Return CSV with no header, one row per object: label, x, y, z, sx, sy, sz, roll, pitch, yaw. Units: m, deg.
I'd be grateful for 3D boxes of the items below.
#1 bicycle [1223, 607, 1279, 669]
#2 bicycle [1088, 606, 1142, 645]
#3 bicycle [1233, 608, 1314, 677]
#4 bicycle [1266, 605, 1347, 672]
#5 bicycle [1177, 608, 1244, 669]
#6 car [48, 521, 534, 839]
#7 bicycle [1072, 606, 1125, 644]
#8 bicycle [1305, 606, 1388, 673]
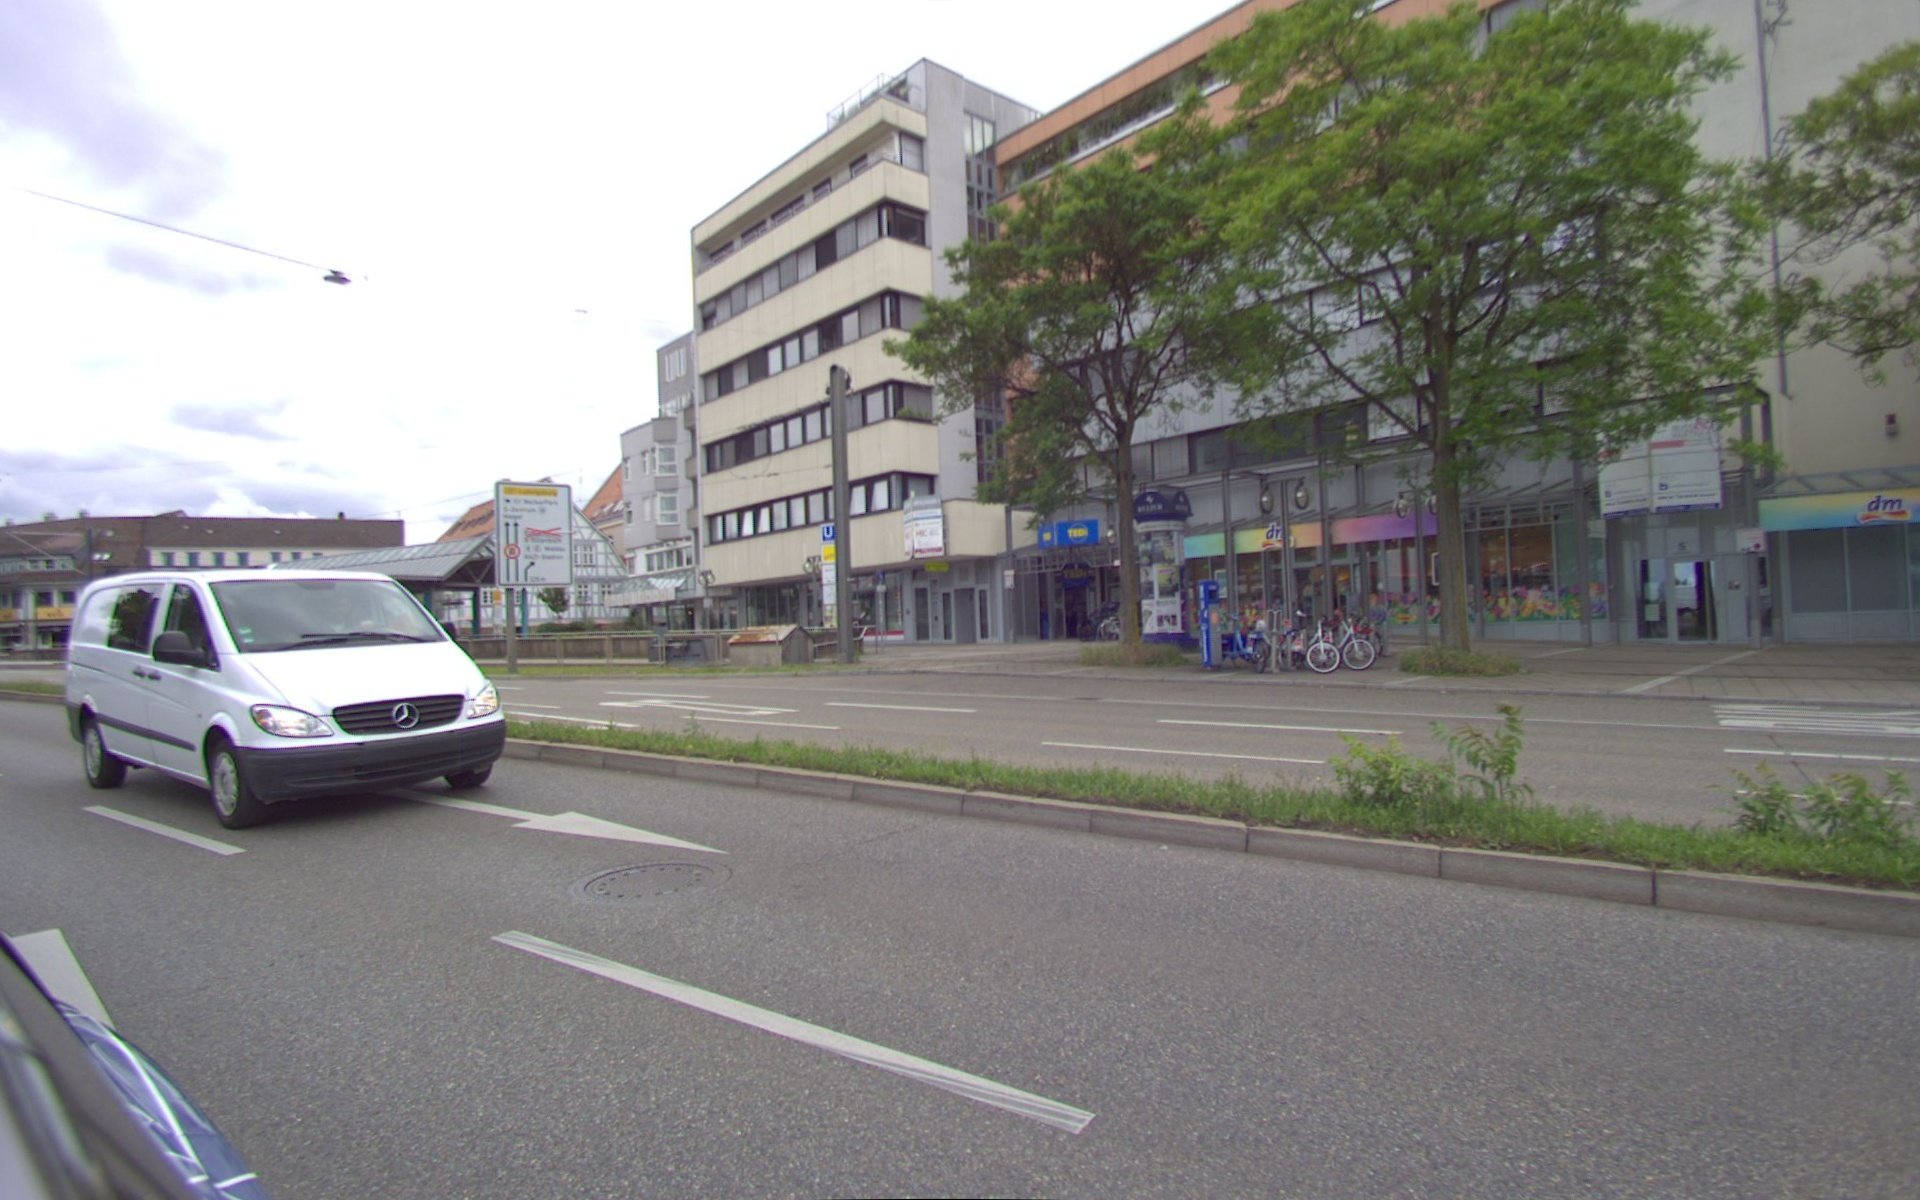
bicycle,6.146,0.797,21.416,0.425,1.263,1.474,-1,-1,-14
bicycle,5.602,0.908,36.554,1.941,1.329,0.707,0,-1,-33
bicycle,6.014,0.803,19.508,0.616,1.263,1.688,-1,-1,-17
bicycle,6.817,0.747,20.014,0.616,1.263,1.688,-1,-1,-17
bicycle,5.358,0.813,21.762,0.616,1.263,1.688,-1,-1,-16
car,-5.956,0.567,8.726,5.066,2.029,1.857,-2,0,37
bicycle,5.131,0.915,37.436,1.941,1.329,0.707,0,-1,-33
bicycle,7.737,0.775,20.345,0.616,1.263,1.688,-1,-1,-17
